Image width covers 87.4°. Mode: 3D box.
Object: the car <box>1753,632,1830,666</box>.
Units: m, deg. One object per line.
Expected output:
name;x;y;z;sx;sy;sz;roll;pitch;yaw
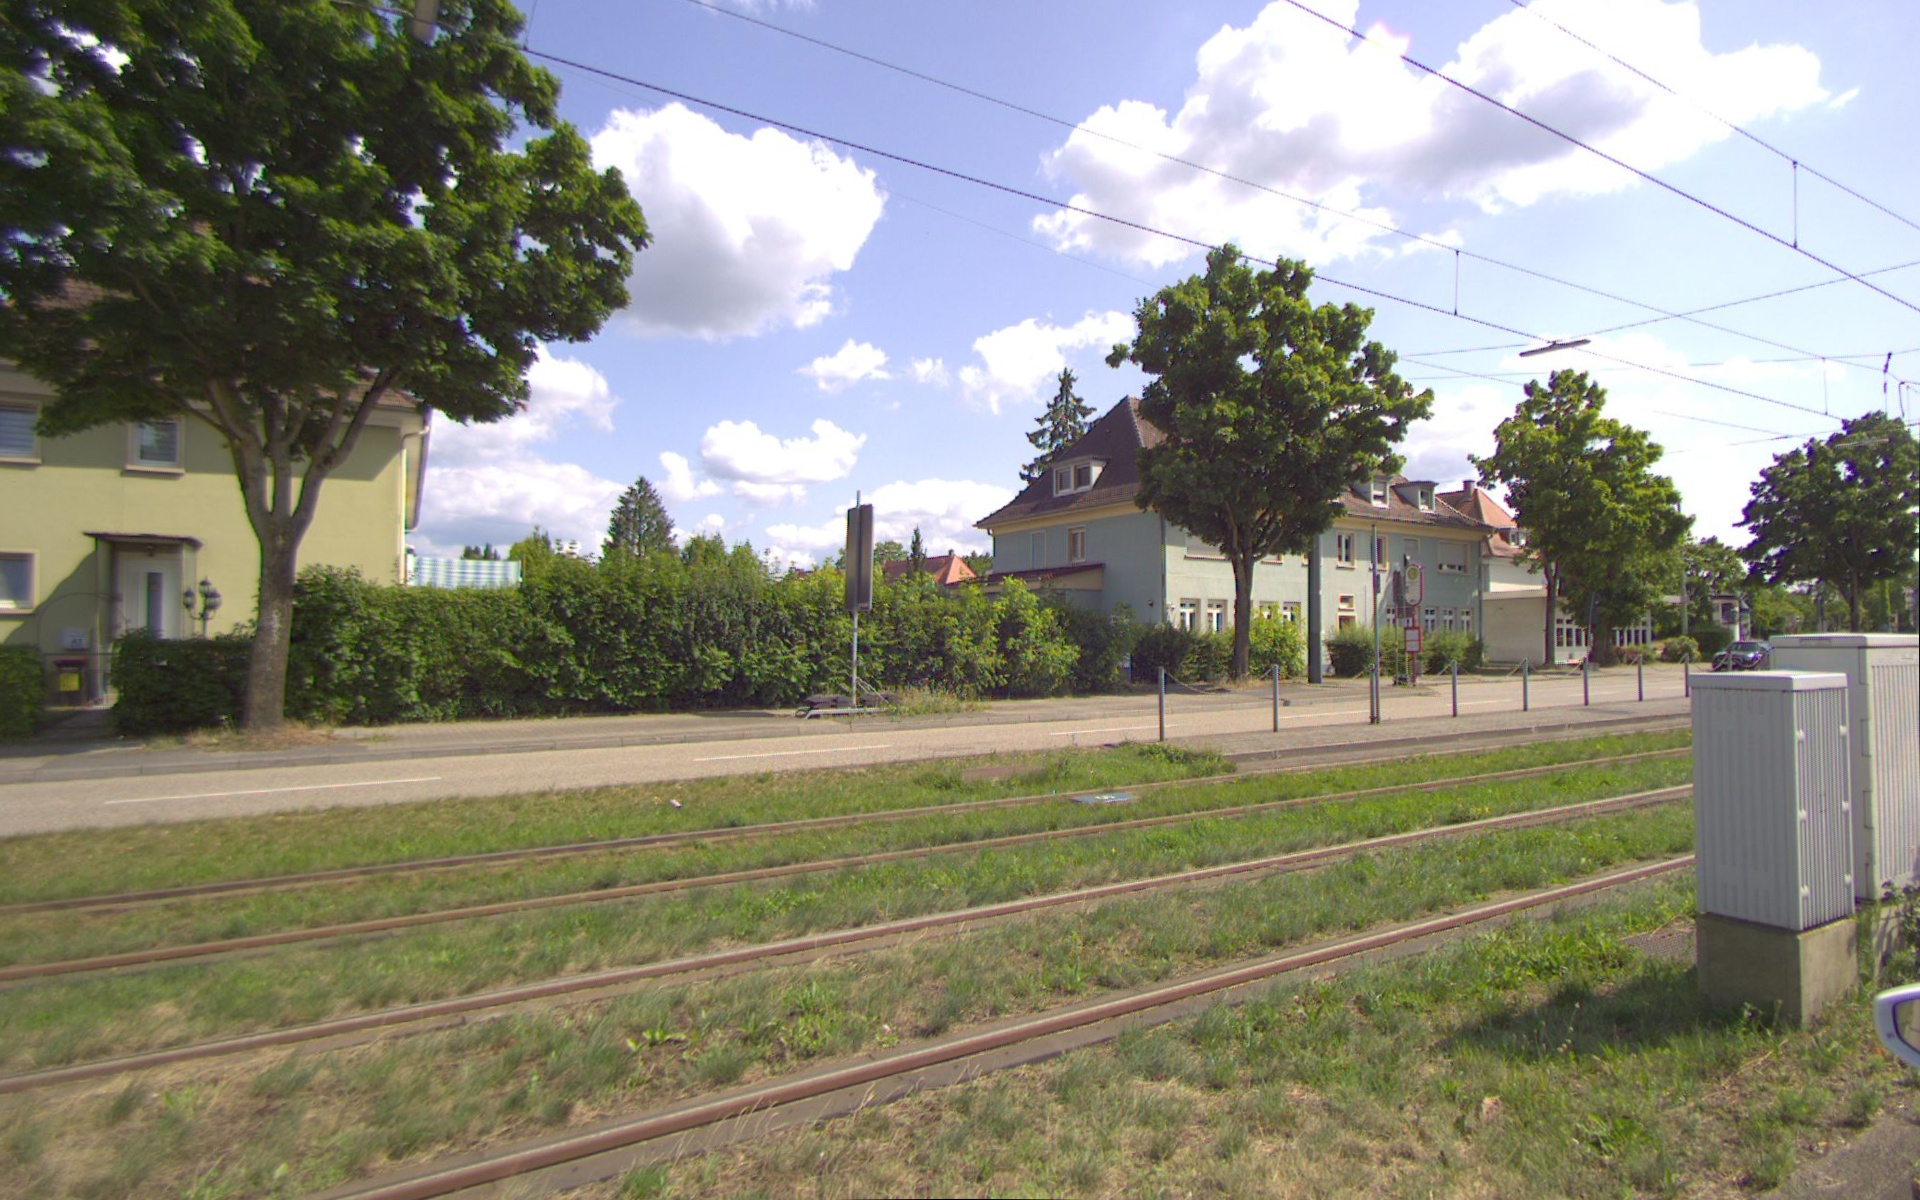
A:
car;41.133;2.388;49.665;4.713;1.635;2.044;1;-2;-39

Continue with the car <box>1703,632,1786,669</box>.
car;36.057;2.282;46.154;3.886;1.605;1.777;1;-2;-32
